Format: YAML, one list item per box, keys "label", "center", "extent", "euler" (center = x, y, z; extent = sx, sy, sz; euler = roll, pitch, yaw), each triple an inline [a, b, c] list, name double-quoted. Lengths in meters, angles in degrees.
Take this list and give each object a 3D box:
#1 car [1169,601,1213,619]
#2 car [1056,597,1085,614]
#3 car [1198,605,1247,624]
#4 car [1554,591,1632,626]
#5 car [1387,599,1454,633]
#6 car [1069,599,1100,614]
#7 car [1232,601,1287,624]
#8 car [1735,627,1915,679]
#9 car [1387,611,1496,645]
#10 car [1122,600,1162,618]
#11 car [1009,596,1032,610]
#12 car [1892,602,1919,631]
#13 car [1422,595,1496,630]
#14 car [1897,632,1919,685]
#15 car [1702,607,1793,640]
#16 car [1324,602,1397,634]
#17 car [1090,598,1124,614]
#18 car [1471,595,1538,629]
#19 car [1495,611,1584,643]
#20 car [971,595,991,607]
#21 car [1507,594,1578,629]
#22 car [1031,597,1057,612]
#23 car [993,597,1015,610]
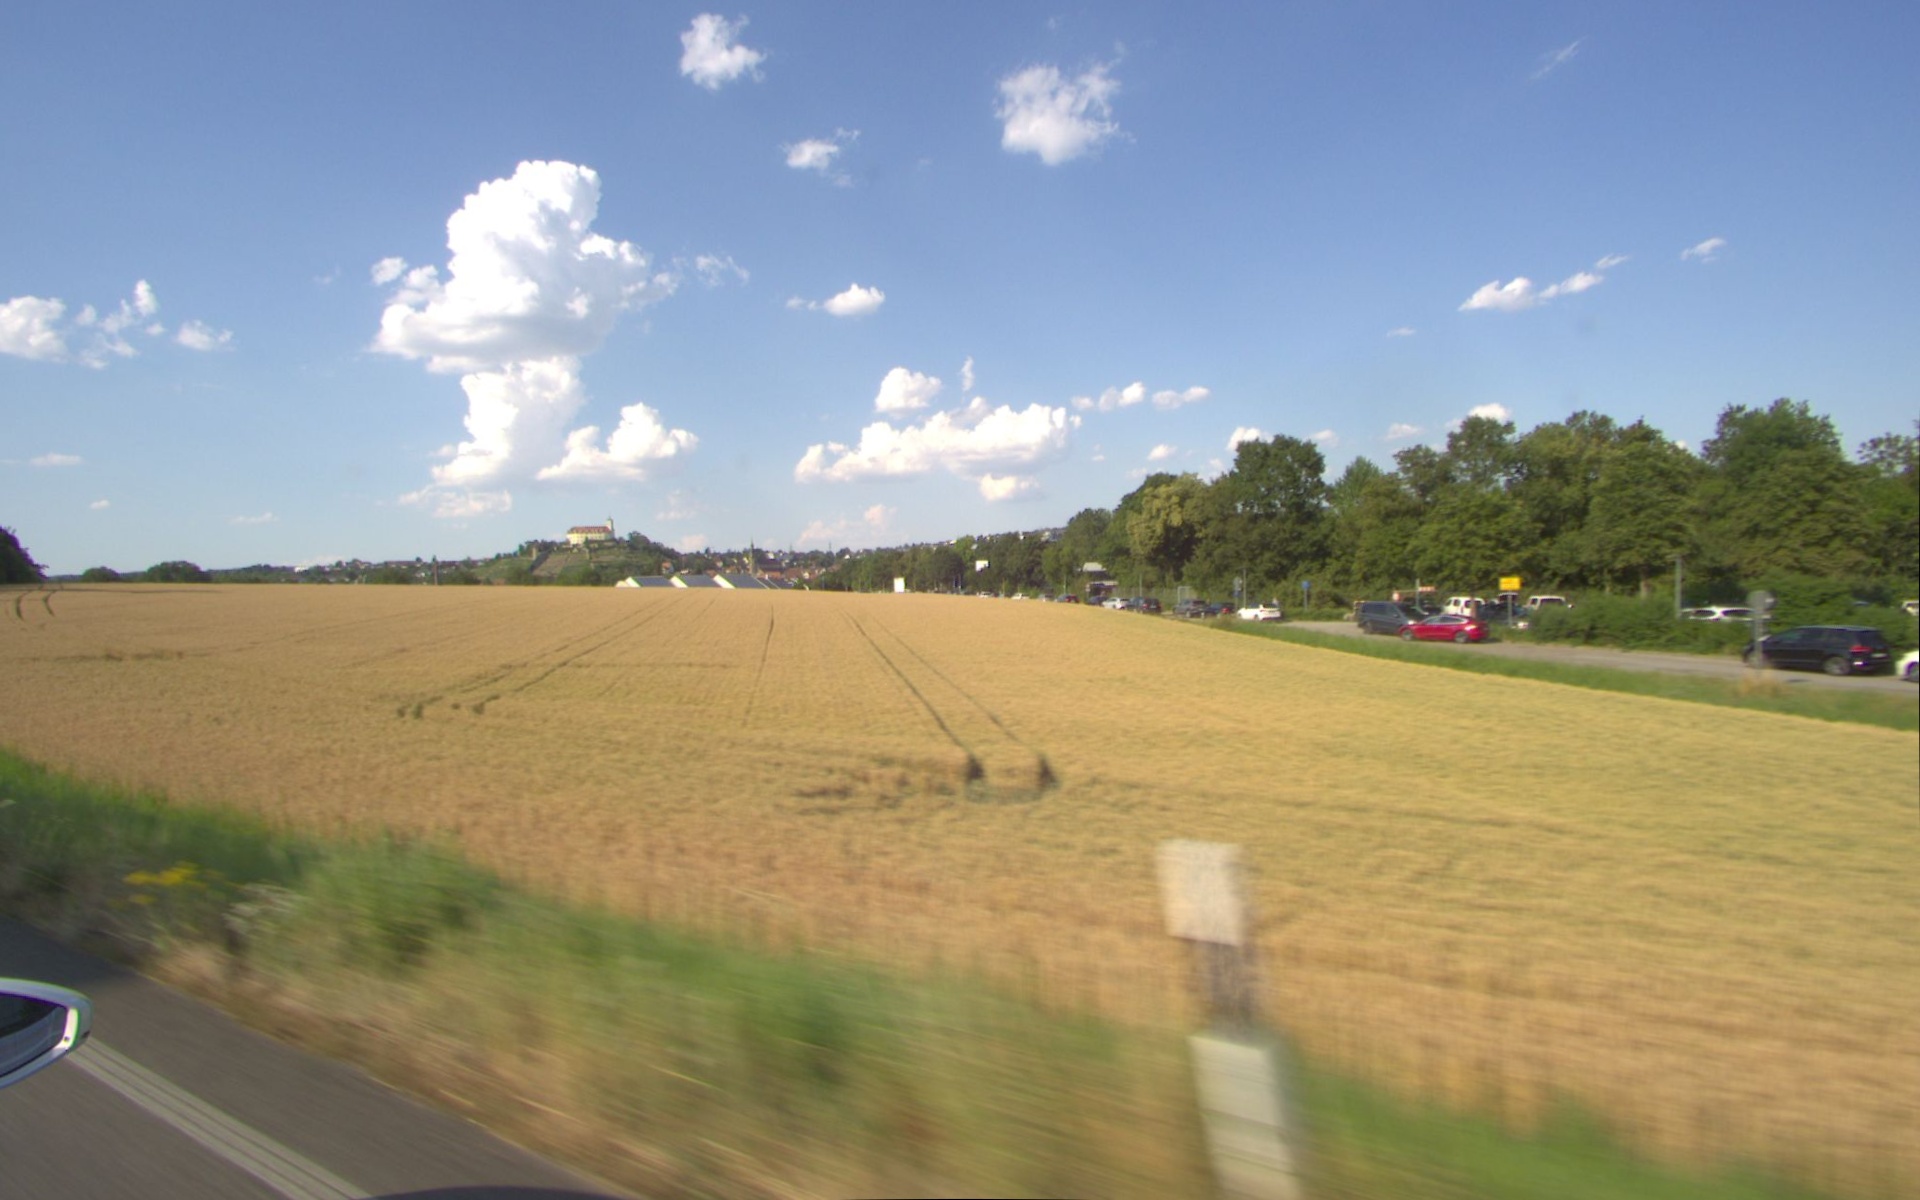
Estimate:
- label: "car"
  center: [19.570, 0.847, 84.966]
  extent: [1.962, 1.527, 4.639]
  euler: [0, 0, -10]
- label: "car"
  center: [12.203, 0.594, 110.565]
  extent: [1.962, 1.810, 4.639]
  euler: [0, 0, -10]
- label: "car"
  center: [20.810, 1.132, 79.659]
  extent: [1.962, 1.527, 4.639]
  euler: [0, 0, -10]
- label: "car"
  center: [43.563, 0.564, 69.115]
  extent: [2.315, 2.273, 5.667]
  euler: [-2, 0, 8]
- label: "car"
  center: [33.055, 1.116, 72.115]
  extent: [2.315, 2.273, 5.669]
  euler: [-2, 0, 2]
- label: "car"
  center: [13.091, 0.650, 105.448]
  extent: [1.962, 1.527, 4.639]
  euler: [0, 0, -10]
- label: "car"
  center: [22.080, 0.911, 74.094]
  extent: [1.962, 1.527, 4.638]
  euler: [0, 1, -10]
- label: "car"
  center: [30.760, 1.847, 35.840]
  extent: [1.963, 1.527, 4.638]
  euler: [0, 1, -11]
- label: "car"
  center: [25.251, 1.430, 52.666]
  extent: [1.976, 1.528, 4.838]
  euler: [-3, 2, -38]
- label: "car"
  center: [16.191, 0.791, 89.412]
  extent: [1.962, 1.527, 4.639]
  euler: [0, 0, -10]
- label: "car"
  center: [8.070, 0.387, 133.468]
  extent: [1.962, 1.810, 4.639]
  euler: [0, 0, -10]
- label: "car"
  center: [58.968, 1.002, 60.707]
  extent: [4.519, 1.713, 1.799]
  euler: [0, 0, -21]
- label: "car"
  center: [35.893, 0.870, 72.258]
  extent: [2.453, 2.339, 6.077]
  euler: [-2, 0, 2]
- label: "car"
  center: [31.881, 1.916, 30.475]
  extent: [1.962, 1.638, 4.638]
  euler: [0, 1, -10]
- label: "car"
  center: [42.390, 1.247, 53.917]
  extent: [4.519, 1.713, 1.799]
  euler: [0, 0, -21]
- label: "car"
  center: [24.527, 1.074, 61.560]
  extent: [1.962, 1.809, 4.707]
  euler: [0, 1, -10]
- label: "car"
  center: [14.637, 0.619, 99.787]
  extent: [1.962, 1.527, 4.639]
  euler: [0, 0, -10]
- label: "car"
  center: [38.646, 0.800, 71.248]
  extent: [2.315, 2.273, 5.667]
  euler: [-2, 0, 8]
- label: "car"
  center: [32.065, 1.455, 55.402]
  extent: [4.519, 1.713, 1.799]
  euler: [0, 0, -21]
- label: "car"
  center: [3.173, 0.146, 151.900]
  extent: [1.962, 1.810, 4.874]
  euler: [0, 0, -10]
- label: "car"
  center: [41.075, 0.769, 70.835]
  extent: [2.288, 2.273, 5.667]
  euler: [-2, 0, 8]
- label: "car"
  center: [10.360, 0.553, 123.727]
  extent: [1.962, 1.810, 4.639]
  euler: [0, 0, -10]
- label: "car"
  center: [6.212, 0.465, 141.976]
  extent: [1.962, 1.810, 4.874]
  euler: [0, 0, -10]
